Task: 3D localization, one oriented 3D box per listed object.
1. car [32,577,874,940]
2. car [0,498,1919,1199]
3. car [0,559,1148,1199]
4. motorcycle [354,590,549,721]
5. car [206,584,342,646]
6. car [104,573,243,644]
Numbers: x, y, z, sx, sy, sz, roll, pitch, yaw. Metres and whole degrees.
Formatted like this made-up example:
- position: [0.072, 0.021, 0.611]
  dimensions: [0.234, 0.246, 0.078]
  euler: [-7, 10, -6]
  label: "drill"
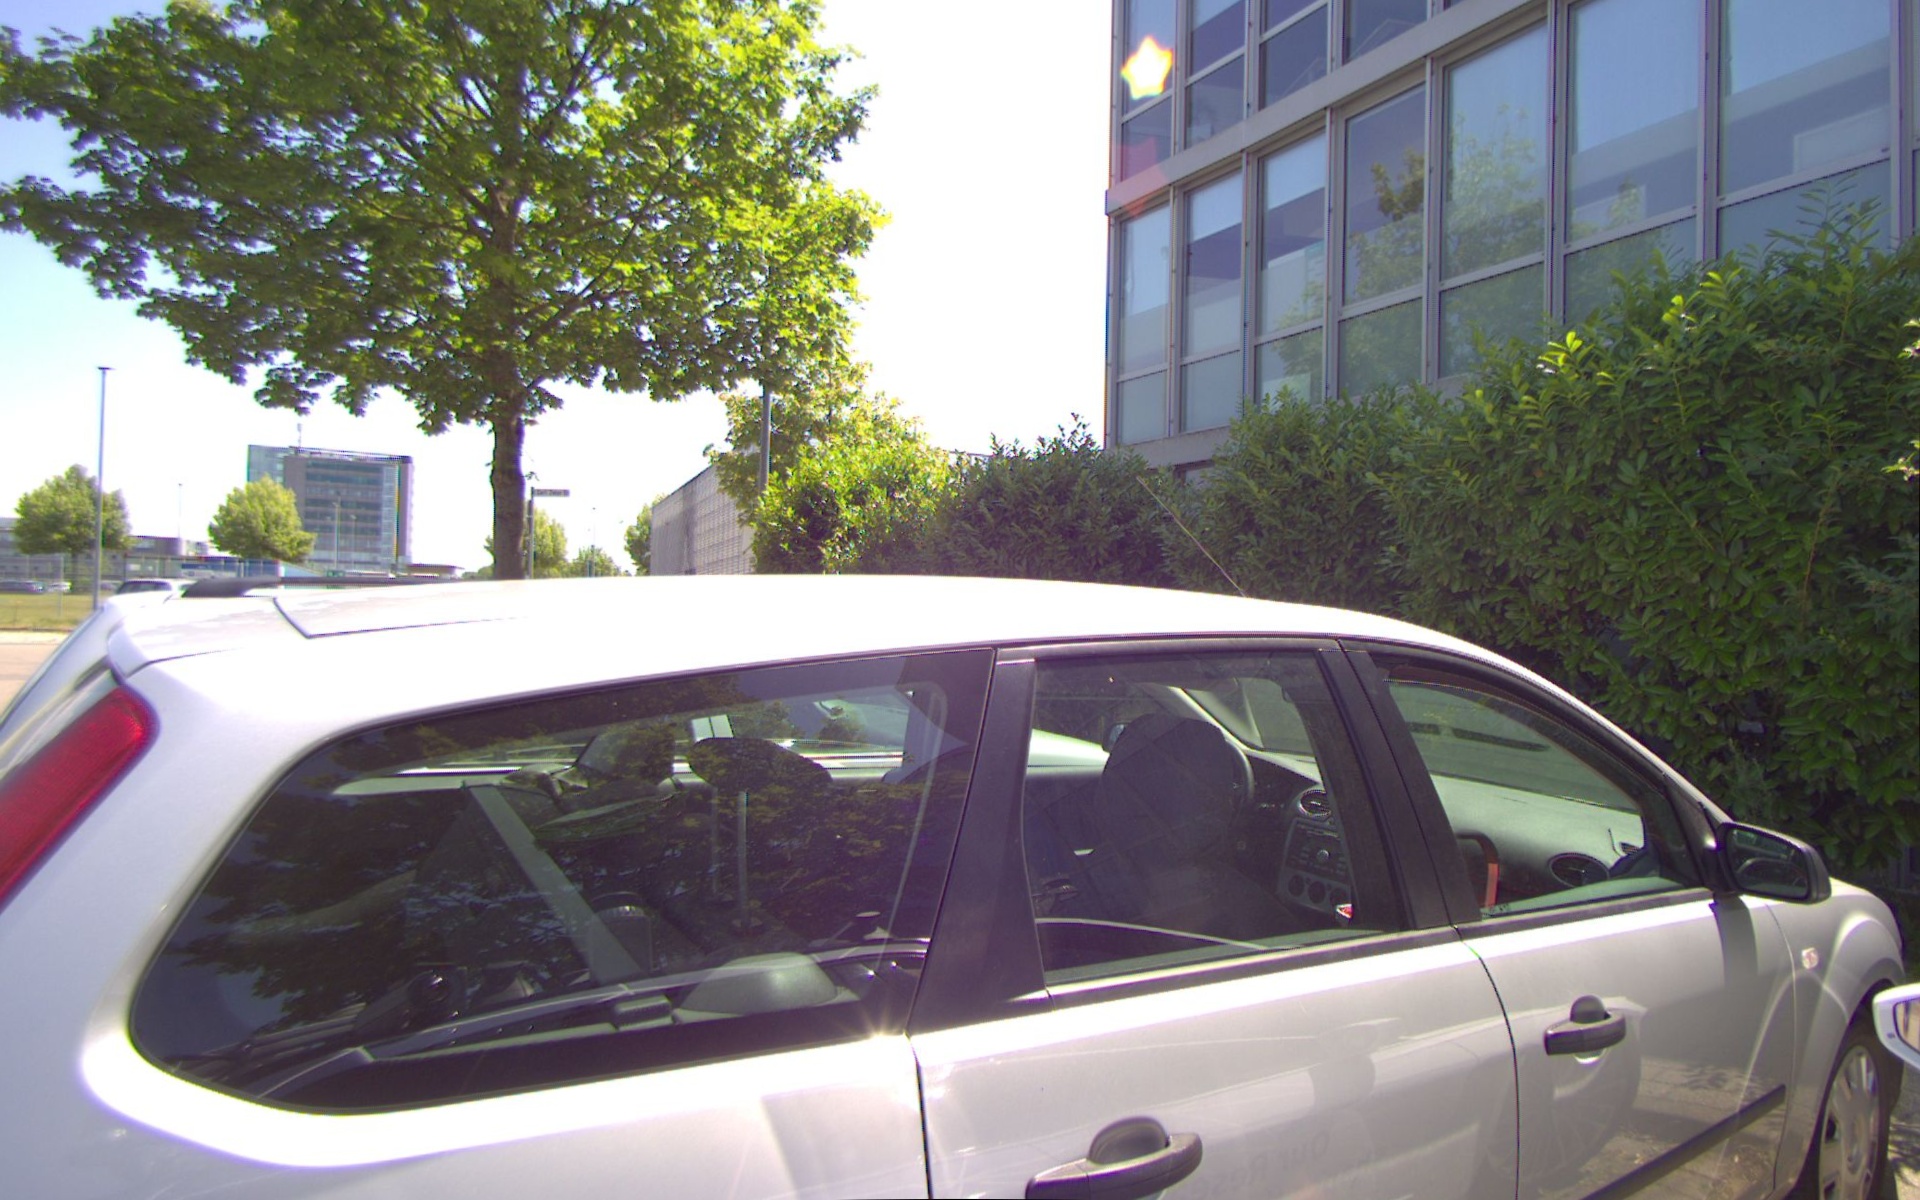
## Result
- position: [-2.585, 0.675, 5.826]
  dimensions: [3.851, 1.468, 1.637]
  euler: [1, 0, -34]
  label: "car"
- position: [0.375, 0.719, 2.153]
  dimensions: [4.299, 1.499, 1.710]
  euler: [1, 0, -31]
  label: "car"
- position: [-1.277, 0.685, 3.770]
  dimensions: [3.851, 1.499, 1.637]
  euler: [1, 0, -34]
  label: "car"
- position: [-5.850, 0.610, 11.623]
  dimensions: [1.969, 1.408, 0.480]
  euler: [1, 0, -34]
  label: "motorcycle"
- position: [-18.731, 0.391, 27.626]
  dimensions: [1.624, 1.542, 3.991]
  euler: [1, 0, -11]
  label: "car"
- position: [-21.151, 0.221, 27.209]
  dimensions: [1.745, 1.761, 3.982]
  euler: [1, 0, -20]
  label: "car"
